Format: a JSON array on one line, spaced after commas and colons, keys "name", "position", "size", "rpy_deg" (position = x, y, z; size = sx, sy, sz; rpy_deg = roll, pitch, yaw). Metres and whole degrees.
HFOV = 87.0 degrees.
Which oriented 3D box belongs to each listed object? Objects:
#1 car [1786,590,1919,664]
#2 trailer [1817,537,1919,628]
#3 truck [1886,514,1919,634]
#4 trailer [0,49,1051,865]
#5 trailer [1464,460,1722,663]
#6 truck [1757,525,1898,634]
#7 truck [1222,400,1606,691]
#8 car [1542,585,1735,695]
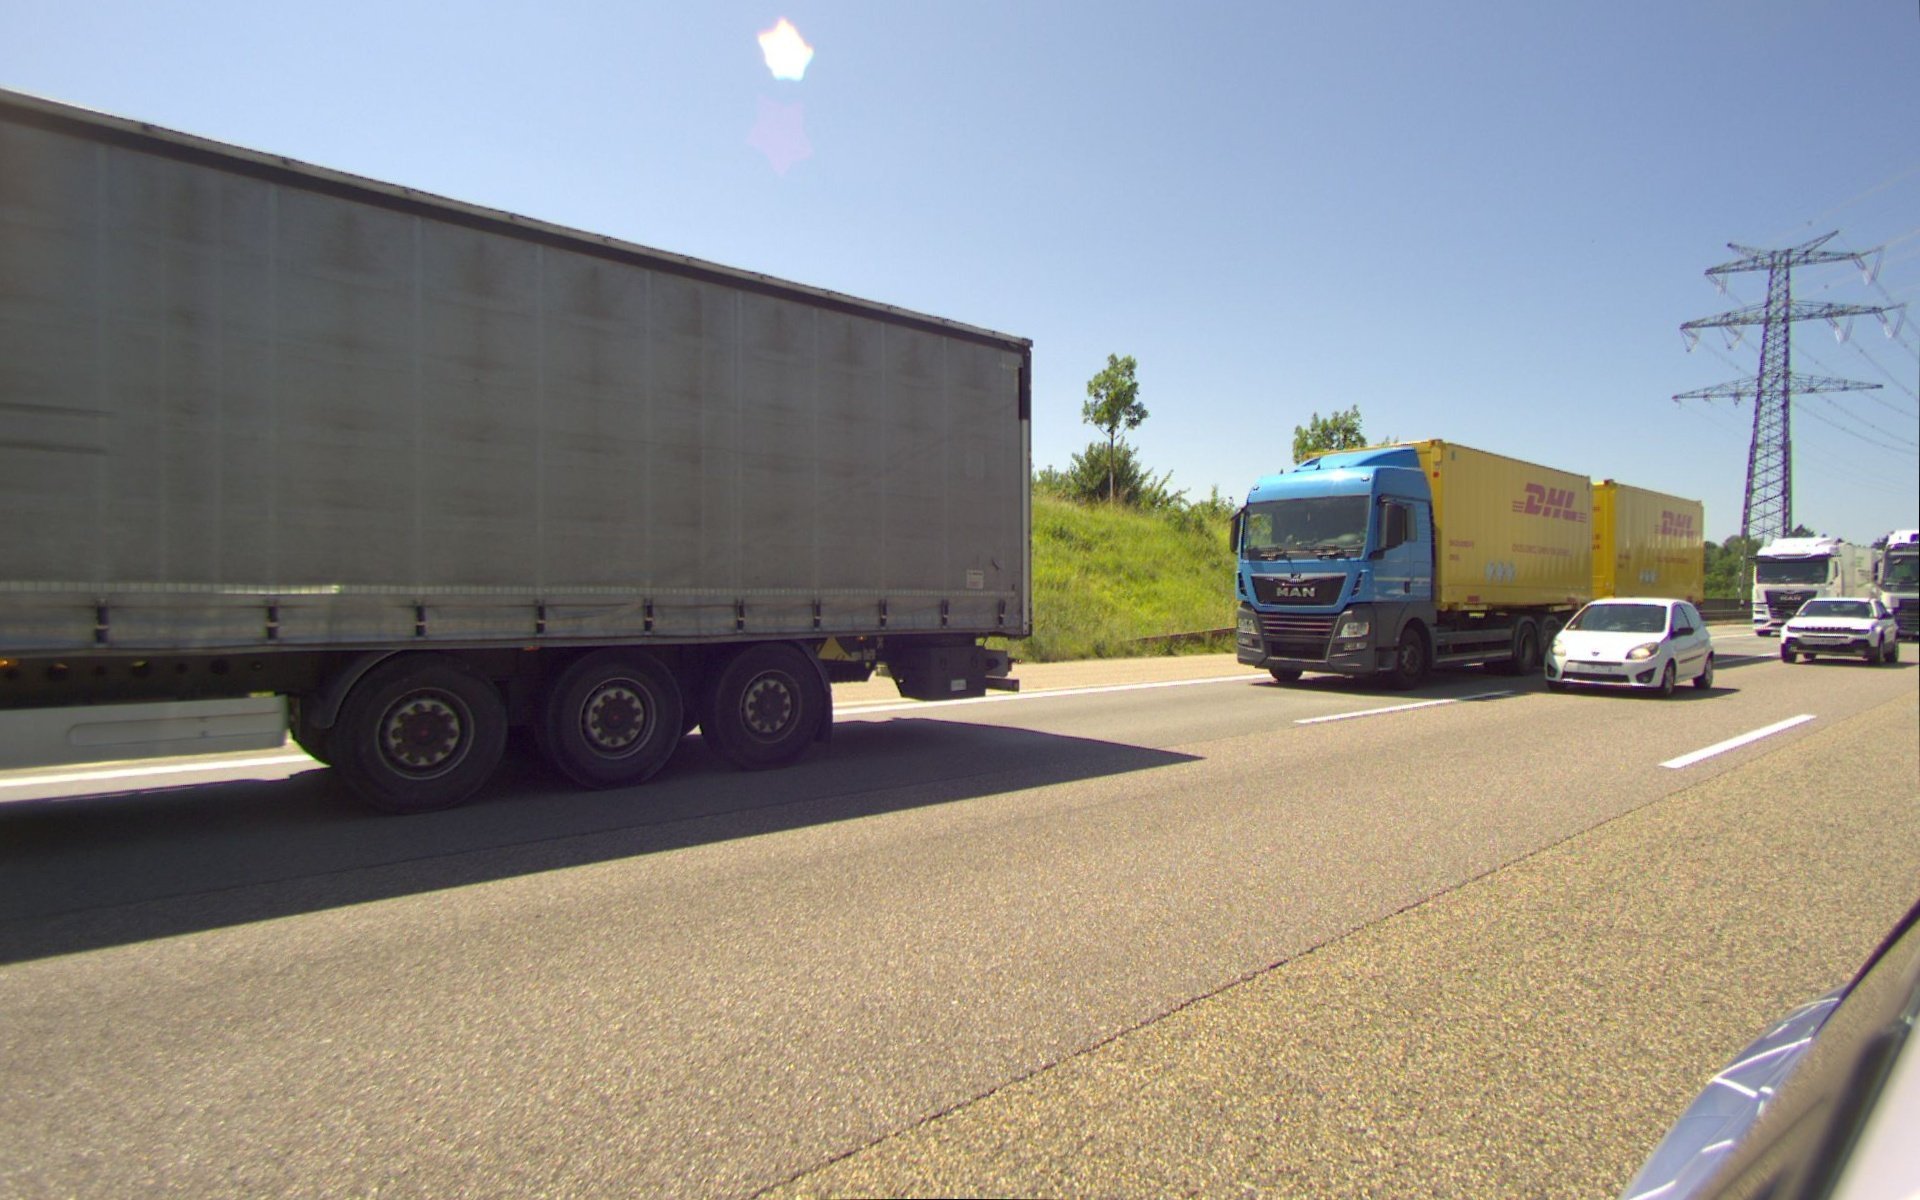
[{"name": "car", "position": [20.891, 0.568, 23.634], "size": [3.783, 1.549, 1.775], "rpy_deg": [-1, 1, -39]}, {"name": "trailer", "position": [43.089, -0.806, 47.813], "size": [7.636, 3.991, 2.750], "rpy_deg": [0, 0, -40]}, {"name": "truck", "position": [38.379, -0.902, 38.491], "size": [14.000, 4.090, 2.717], "rpy_deg": [0, 0, -40]}, {"name": "trailer", "position": [-5.167, -0.725, 6.755], "size": [13.509, 4.101, 2.967], "rpy_deg": [0, 0, -41]}, {"name": "trailer", "position": [15.787, -0.769, 24.861], "size": [9.211, 4.170, 2.770], "rpy_deg": [1, 0, -41]}, {"name": "truck", "position": [35.949, -0.785, 41.742], "size": [11.097, 3.980, 2.694], "rpy_deg": [0, 0, -40]}, {"name": "truck", "position": [8.853, -0.760, 18.795], "size": [9.779, 4.161, 2.769], "rpy_deg": [1, 0, -42]}, {"name": "car", "position": [10.911, 0.544, 16.188], "size": [3.759, 1.529, 1.658], "rpy_deg": [-1, 1, -41]}]
